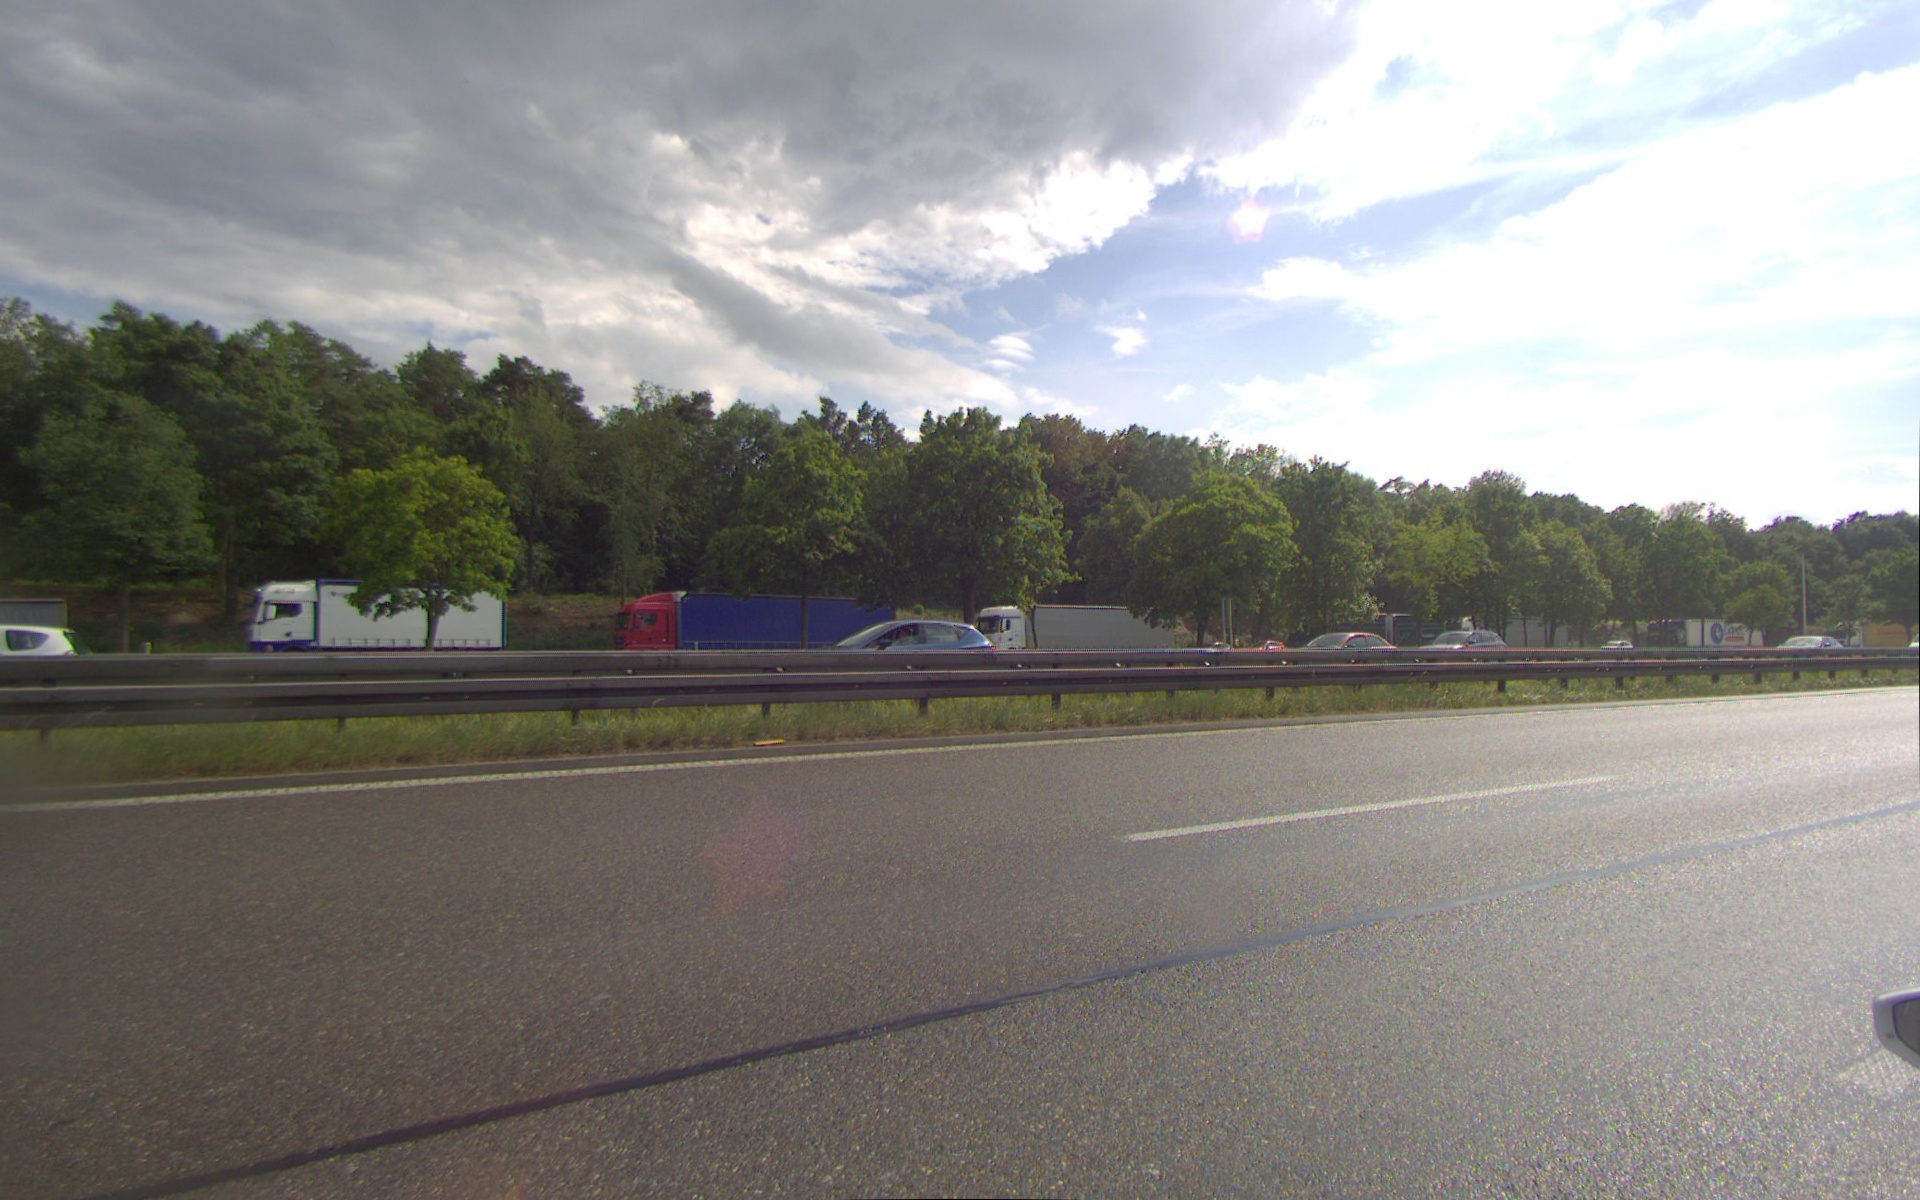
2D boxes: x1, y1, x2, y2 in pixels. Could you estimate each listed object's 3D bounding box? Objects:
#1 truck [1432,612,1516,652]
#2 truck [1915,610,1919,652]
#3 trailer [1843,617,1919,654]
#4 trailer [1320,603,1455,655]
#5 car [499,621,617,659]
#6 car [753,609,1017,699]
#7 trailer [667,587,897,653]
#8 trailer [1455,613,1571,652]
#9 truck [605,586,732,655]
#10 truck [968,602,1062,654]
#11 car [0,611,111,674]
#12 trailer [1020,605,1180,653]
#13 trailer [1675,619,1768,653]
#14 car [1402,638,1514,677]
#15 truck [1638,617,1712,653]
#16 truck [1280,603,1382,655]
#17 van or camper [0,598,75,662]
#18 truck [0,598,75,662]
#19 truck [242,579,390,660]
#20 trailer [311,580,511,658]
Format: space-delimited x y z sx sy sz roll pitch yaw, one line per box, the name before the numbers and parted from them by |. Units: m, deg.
truck | 49.316 3.095 96.442 7.266 3.637 3.771 2 0 -29
truck | 46.315 1.487 46.069 5.383 1.920 2.246 2 0 -30
trailer | 114.530 4.402 123.151 11.534 4.171 3.787 2 0 -16
trailer | 38.934 2.667 91.255 13.633 4.464 3.773 1 -1 -29
car | -23.399 2.318 58.640 6.080 2.040 1.978 2 0 -39
car | -1.314 0.934 18.078 4.382 1.411 1.821 2 0 -30
trailer | -9.973 1.230 58.053 13.303 3.450 2.802 2 -2 -37
trailer | 54.916 3.261 99.580 13.183 3.697 3.773 1 -1 -29
truck | -15.578 1.083 53.787 5.843 3.502 2.839 2 0 -37
truck | 3.762 1.914 68.701 5.450 3.316 3.332 2 0 -34
car | -17.428 0.748 18.040 3.078 1.071 1.438 2 0 -30
trailer | 10.298 2.139 72.905 12.337 3.259 3.329 1 -1 -32
trailer | 86.113 4.042 113.559 10.346 3.697 3.781 1 -1 -23
car | 19.655 2.252 39.606 4.382 1.411 1.821 2 0 -30
truck | 78.431 3.843 110.186 6.613 3.709 3.777 2 0 -24
truck | 32.343 2.521 87.467 8.316 4.290 3.771 2 0 -29
van or camper | -36.207 1.056 36.310 6.279 2.295 2.098 2 -1 -43
truck | -36.207 1.056 36.310 6.275 2.295 2.098 2 -1 -43
truck | -27.806 0.833 43.444 5.046 3.311 2.631 2 0 -41
trailer | -24.977 0.918 45.955 7.678 3.275 2.558 2 -2 -40
